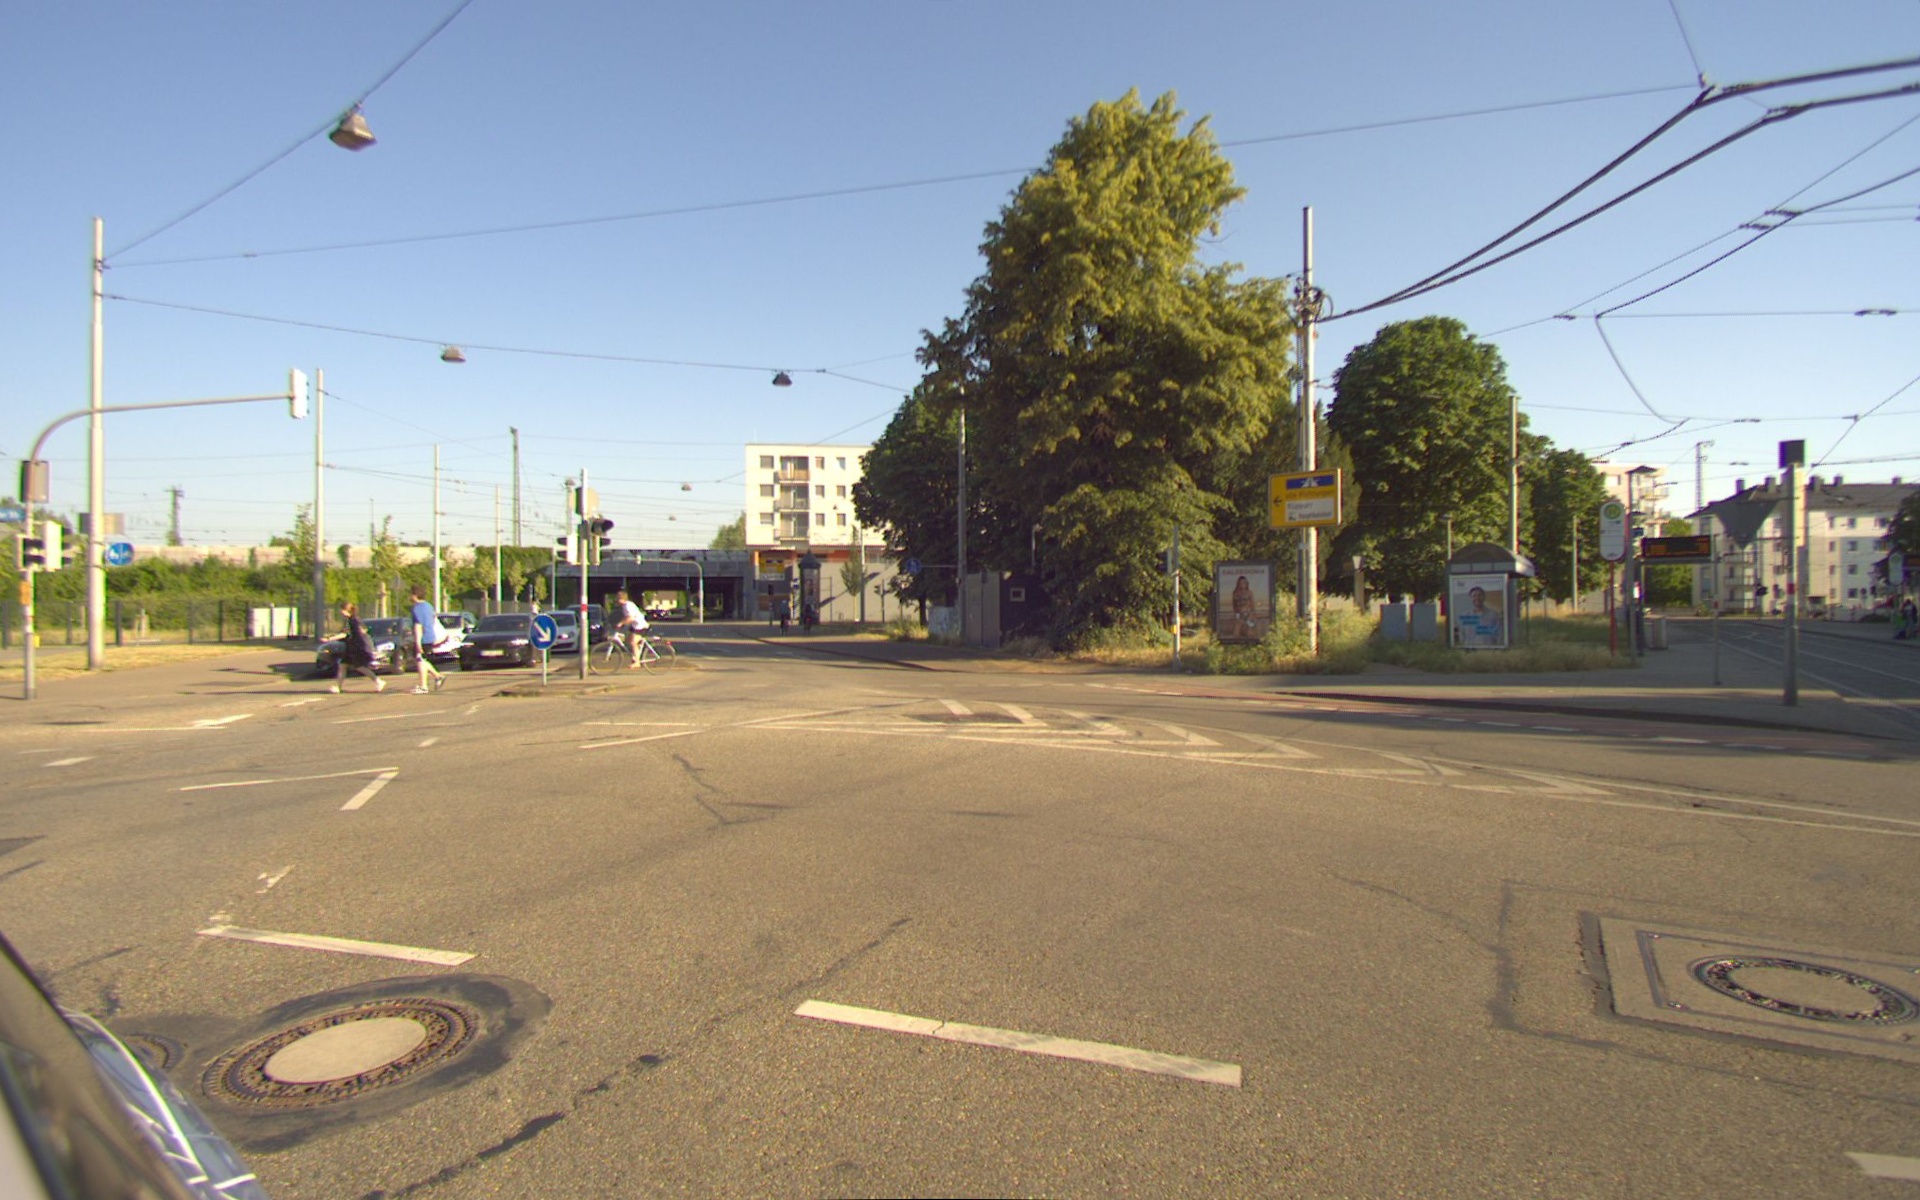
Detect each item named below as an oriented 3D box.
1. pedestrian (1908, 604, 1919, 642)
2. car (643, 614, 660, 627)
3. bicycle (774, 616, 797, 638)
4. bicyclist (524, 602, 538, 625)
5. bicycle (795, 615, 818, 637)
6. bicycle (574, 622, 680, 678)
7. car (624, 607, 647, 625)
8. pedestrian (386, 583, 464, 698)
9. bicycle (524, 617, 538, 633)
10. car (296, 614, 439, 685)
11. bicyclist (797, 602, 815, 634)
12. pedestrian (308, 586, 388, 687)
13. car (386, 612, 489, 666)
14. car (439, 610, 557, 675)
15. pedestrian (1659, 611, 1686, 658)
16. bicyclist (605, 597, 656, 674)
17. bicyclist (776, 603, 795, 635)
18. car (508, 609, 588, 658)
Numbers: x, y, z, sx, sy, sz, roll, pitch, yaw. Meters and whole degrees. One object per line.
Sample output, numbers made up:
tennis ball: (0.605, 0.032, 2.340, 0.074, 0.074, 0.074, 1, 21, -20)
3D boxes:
pedestrian: (37.847, 0.905, 39.937, 0.668, 1.512, 0.568, 1, -1, -44)
car: (-41.451, 2.739, 136.046, 1.966, 1.716, 4.011, 0, -1, -15)
bicycle: (-8.667, 1.321, 50.184, 0.652, 1.077, 2.026, 0, -1, -25)
bicyclist: (-29.701, 0.937, 70.026, 0.764, 1.618, 0.860, 0, -1, -16)
bicycle: (-7.726, 1.300, 50.733, 0.652, 1.077, 2.026, 0, -1, -23)
bicycle: (-7.231, 1.074, 22.092, 2.164, 1.151, 0.702, 0, -1, -15)
car: (-31.543, 1.524, 98.438, 1.966, 1.716, 4.011, 0, -1, -14)
pedestrian: (-9.309, 0.687, 17.653, 1.049, 1.939, 0.917, 0, -1, -18)
bicycle: (-29.686, 1.732, 70.006, 0.652, 1.077, 2.025, 0, -1, -15)
car: (-14.862, 1.164, 25.656, 1.966, 1.579, 4.286, -1, 0, -14)
bicyclist: (-7.725, 0.901, 50.704, 0.649, 1.543, 1.041, 0, -1, -24)
pedestrian: (-10.958, 0.634, 18.164, 1.049, 1.760, 0.917, 0, -1, -18)
car: (-16.478, 1.174, 32.145, 1.966, 1.579, 4.286, 0, 0, -14)
car: (-12.299, 1.061, 27.235, 2.020, 1.579, 4.462, 0, 0, -12)
pedestrian: (22.063, 1.070, 31.343, 0.594, 1.438, 0.501, -1, -1, 26)
bicyclist: (-7.182, 0.768, 22.065, 1.024, 1.641, 0.715, 0, -1, -16)
bicyclist: (-8.673, 0.925, 50.162, 0.686, 1.543, 1.041, 0, -1, -24)
car: (-14.251, 1.106, 35.230, 1.966, 1.579, 4.468, 0, 0, -14)
